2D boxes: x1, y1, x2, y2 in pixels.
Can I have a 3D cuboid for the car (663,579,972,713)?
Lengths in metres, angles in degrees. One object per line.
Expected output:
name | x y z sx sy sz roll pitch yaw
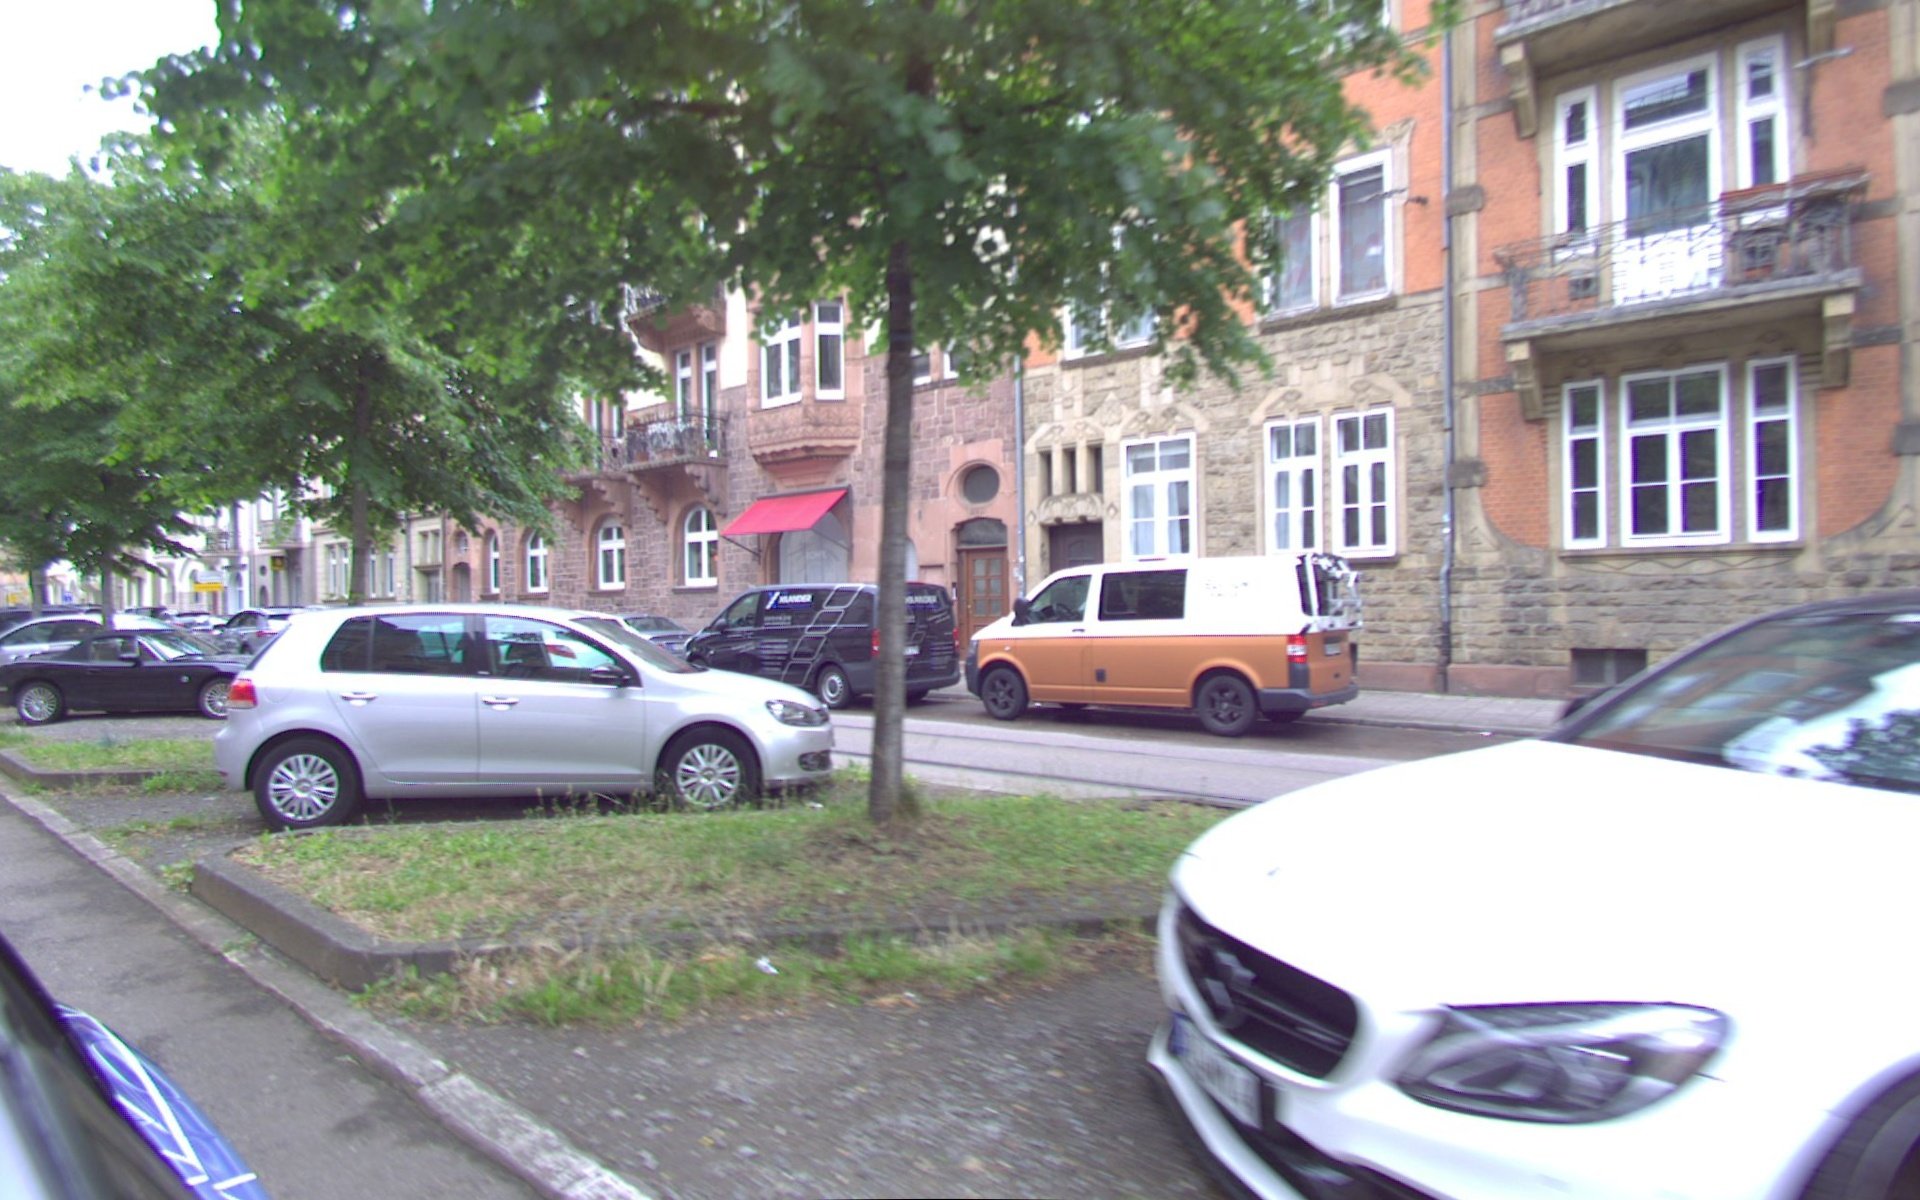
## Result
car | -2.370 0.625 15.823 5.112 1.795 1.796 -1 0 39

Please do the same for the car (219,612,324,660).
car | -22.972 1.153 33.719 4.226 1.449 1.787 -1 0 39

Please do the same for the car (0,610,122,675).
car | -24.075 1.060 25.286 4.471 1.501 2.039 -1 0 -6

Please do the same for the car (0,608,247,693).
car | -16.027 0.900 18.500 4.595 1.378 1.760 -1 0 -7

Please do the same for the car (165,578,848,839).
car | -2.913 0.650 7.290 4.051 1.495 1.801 -1 0 -9

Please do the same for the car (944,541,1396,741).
car | 2.342 0.414 12.264 5.089 1.967 1.862 -1 0 39

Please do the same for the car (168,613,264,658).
car | -27.190 1.263 36.941 4.383 1.501 1.787 -1 0 39

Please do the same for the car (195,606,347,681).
car | -16.478 0.972 24.119 4.542 1.591 1.787 -1 0 39

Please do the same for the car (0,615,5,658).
car | -35.789 1.331 34.520 4.496 1.504 1.865 -1 1 -4

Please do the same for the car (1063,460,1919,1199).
car | 2.768 0.526 2.500 4.612 1.445 1.903 -1 0 -11

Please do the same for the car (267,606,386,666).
car | -18.965 1.019 30.227 4.316 1.641 1.751 -1 0 39

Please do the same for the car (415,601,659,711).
car | -6.858 0.802 16.154 4.617 1.515 1.628 -1 0 39

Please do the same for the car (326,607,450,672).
car | -15.292 1.005 26.993 3.719 1.571 1.645 -1 0 39

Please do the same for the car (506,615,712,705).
car | -7.001 1.087 19.973 4.549 1.553 1.723 -1 0 39

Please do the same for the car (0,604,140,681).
car | -21.579 0.962 22.906 4.463 1.645 1.768 -1 0 -6

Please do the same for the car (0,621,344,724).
car | -10.969 0.954 13.941 3.901 1.211 1.671 -1 0 -6

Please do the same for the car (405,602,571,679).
car | -11.140 0.887 23.740 4.549 1.638 1.723 -1 0 39

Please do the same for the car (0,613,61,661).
car | -29.490 1.134 29.891 4.065 1.322 1.866 -2 0 -7

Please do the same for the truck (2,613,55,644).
truck | -59.997 1.824 65.112 6.064 1.870 2.121 -1 0 44

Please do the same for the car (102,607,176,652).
car | -37.235 1.321 45.864 4.428 1.885 1.832 -1 -1 41

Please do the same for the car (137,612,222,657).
car | -31.324 1.332 40.556 4.269 1.692 1.787 -1 0 39
